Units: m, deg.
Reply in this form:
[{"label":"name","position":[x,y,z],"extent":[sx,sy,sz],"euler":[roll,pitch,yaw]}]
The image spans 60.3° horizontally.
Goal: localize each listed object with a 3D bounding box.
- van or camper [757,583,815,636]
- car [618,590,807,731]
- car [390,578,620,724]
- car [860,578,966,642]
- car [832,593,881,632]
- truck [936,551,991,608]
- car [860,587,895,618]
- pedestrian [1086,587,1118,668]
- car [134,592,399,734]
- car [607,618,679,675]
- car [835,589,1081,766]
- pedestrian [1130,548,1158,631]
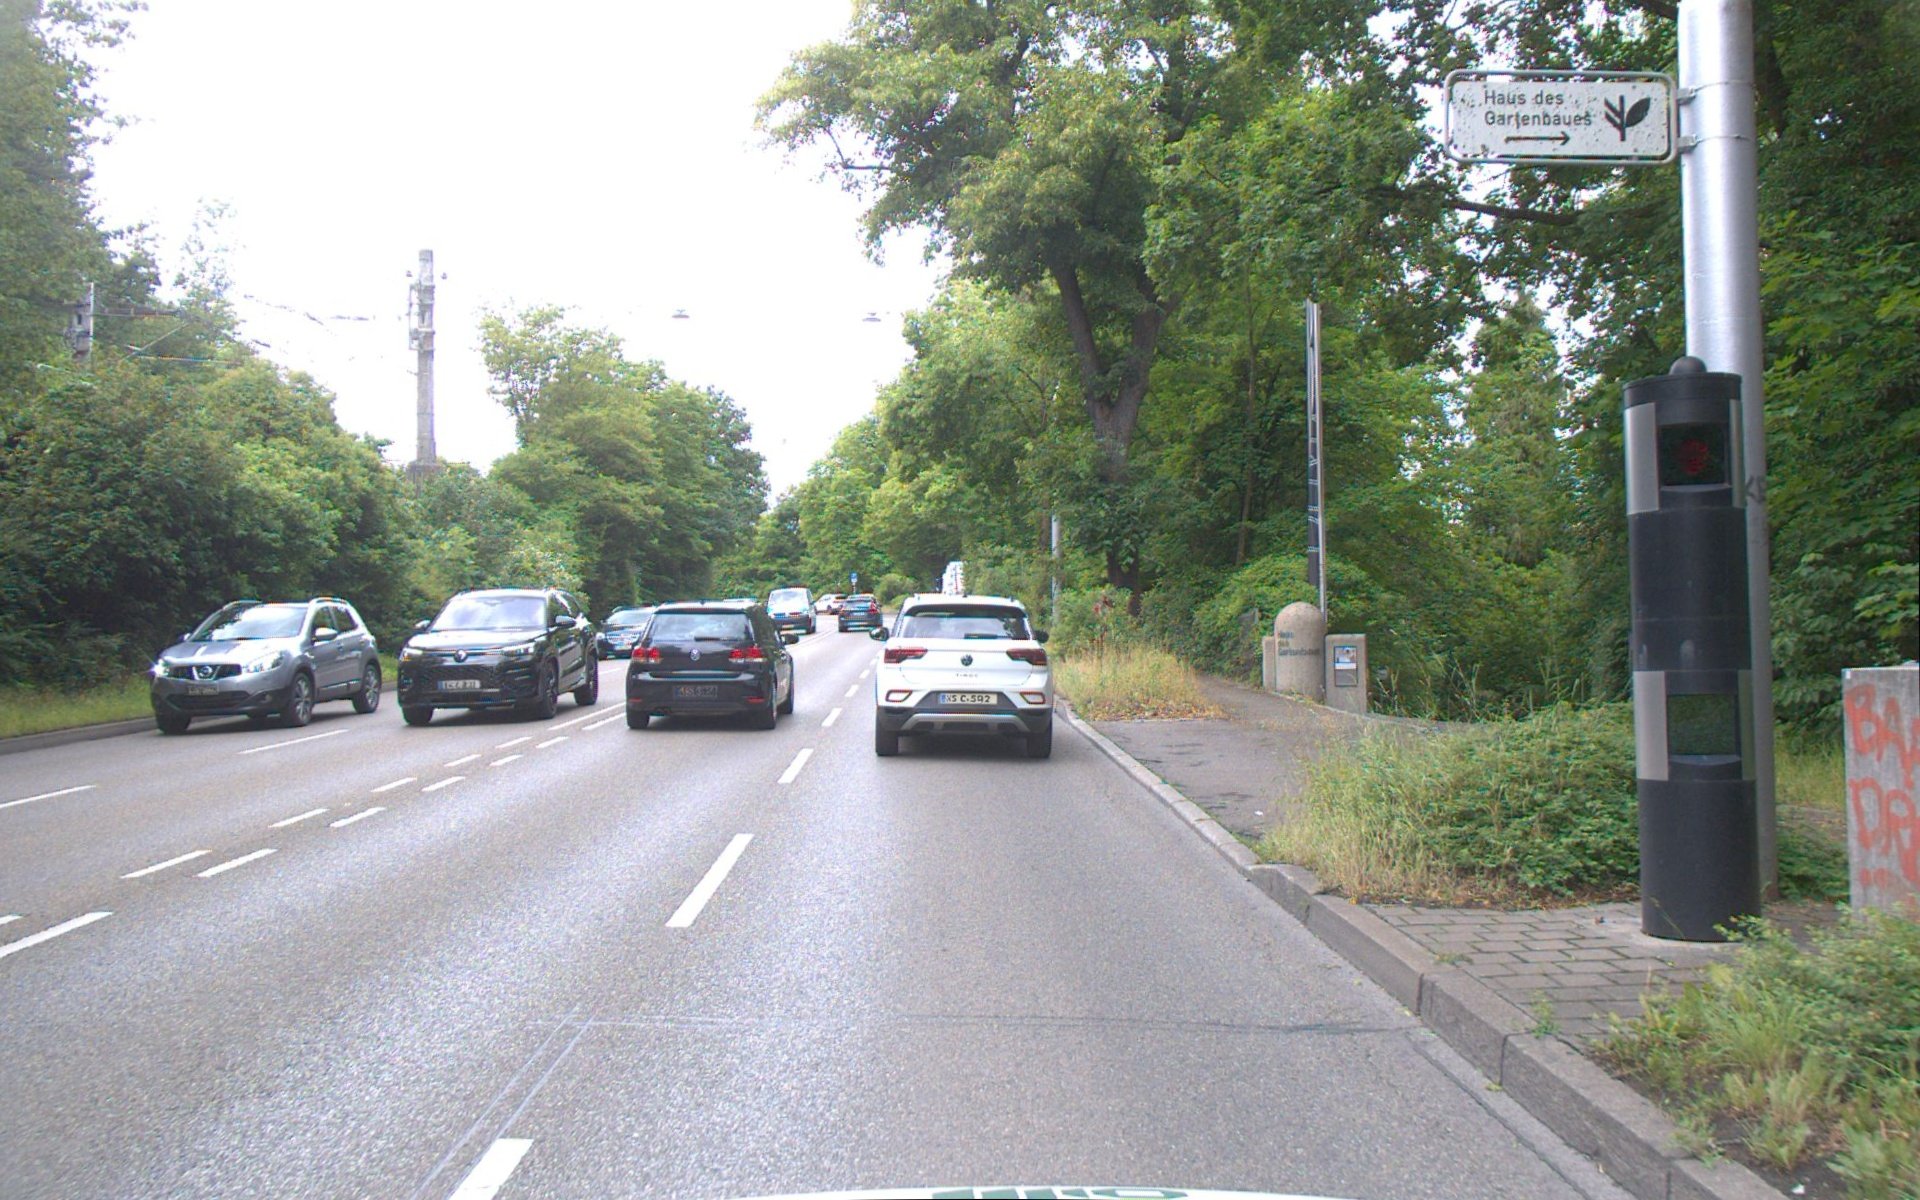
[{"label":"van or camper","position":[-7.534,0.422,71.330],"extent":[1.958,2.048,5.354],"euler":[-3,0,-11]},{"label":"car","position":[-2.941,0.678,20.448],"extent":[1.911,1.491,3.997],"euler":[3,0,-4]},{"label":"car","position":[-5.937,0.618,22.195],"extent":[1.773,1.691,4.829],"euler":[-1,0,-1]},{"label":"car","position":[-1.450,0.267,49.350],"extent":[1.826,1.732,3.972],"euler":[-3,1,-23]},{"label":"car","position":[-4.515,0.534,72.503],"extent":[1.953,1.620,3.999],"euler":[1,0,-1]},{"label":"truck","position":[0.141,-1.184,98.846],"extent":[2.434,3.237,7.218],"euler":[1,0,-6]},{"label":"car","position":[-4.537,0.161,91.416],"extent":[1.785,1.651,3.999],"euler":[1,0,-1]},{"label":"pedestrian","position":[3.055,0.597,35.622],"extent":[0.597,1.727,0.548],"euler":[1,-1,-5]},{"label":"car","position":[-9.030,0.757,21.927],"extent":[1.755,1.640,4.188],"euler":[-2,0,-1]},{"label":"car","position":[-9.571,1.380,50.132],"extent":[1.445,1.624,3.999],"euler":[1,0,-1]},{"label":"car","position":[-0.155,0.730,17.309],"extent":[1.964,1.624,3.991],"euler":[1,0,-9]},{"label":"pedestrian","position":[3.999,-0.234,35.992],"extent":[0.509,1.784,0.524],"euler":[1,-1,-5]}]
